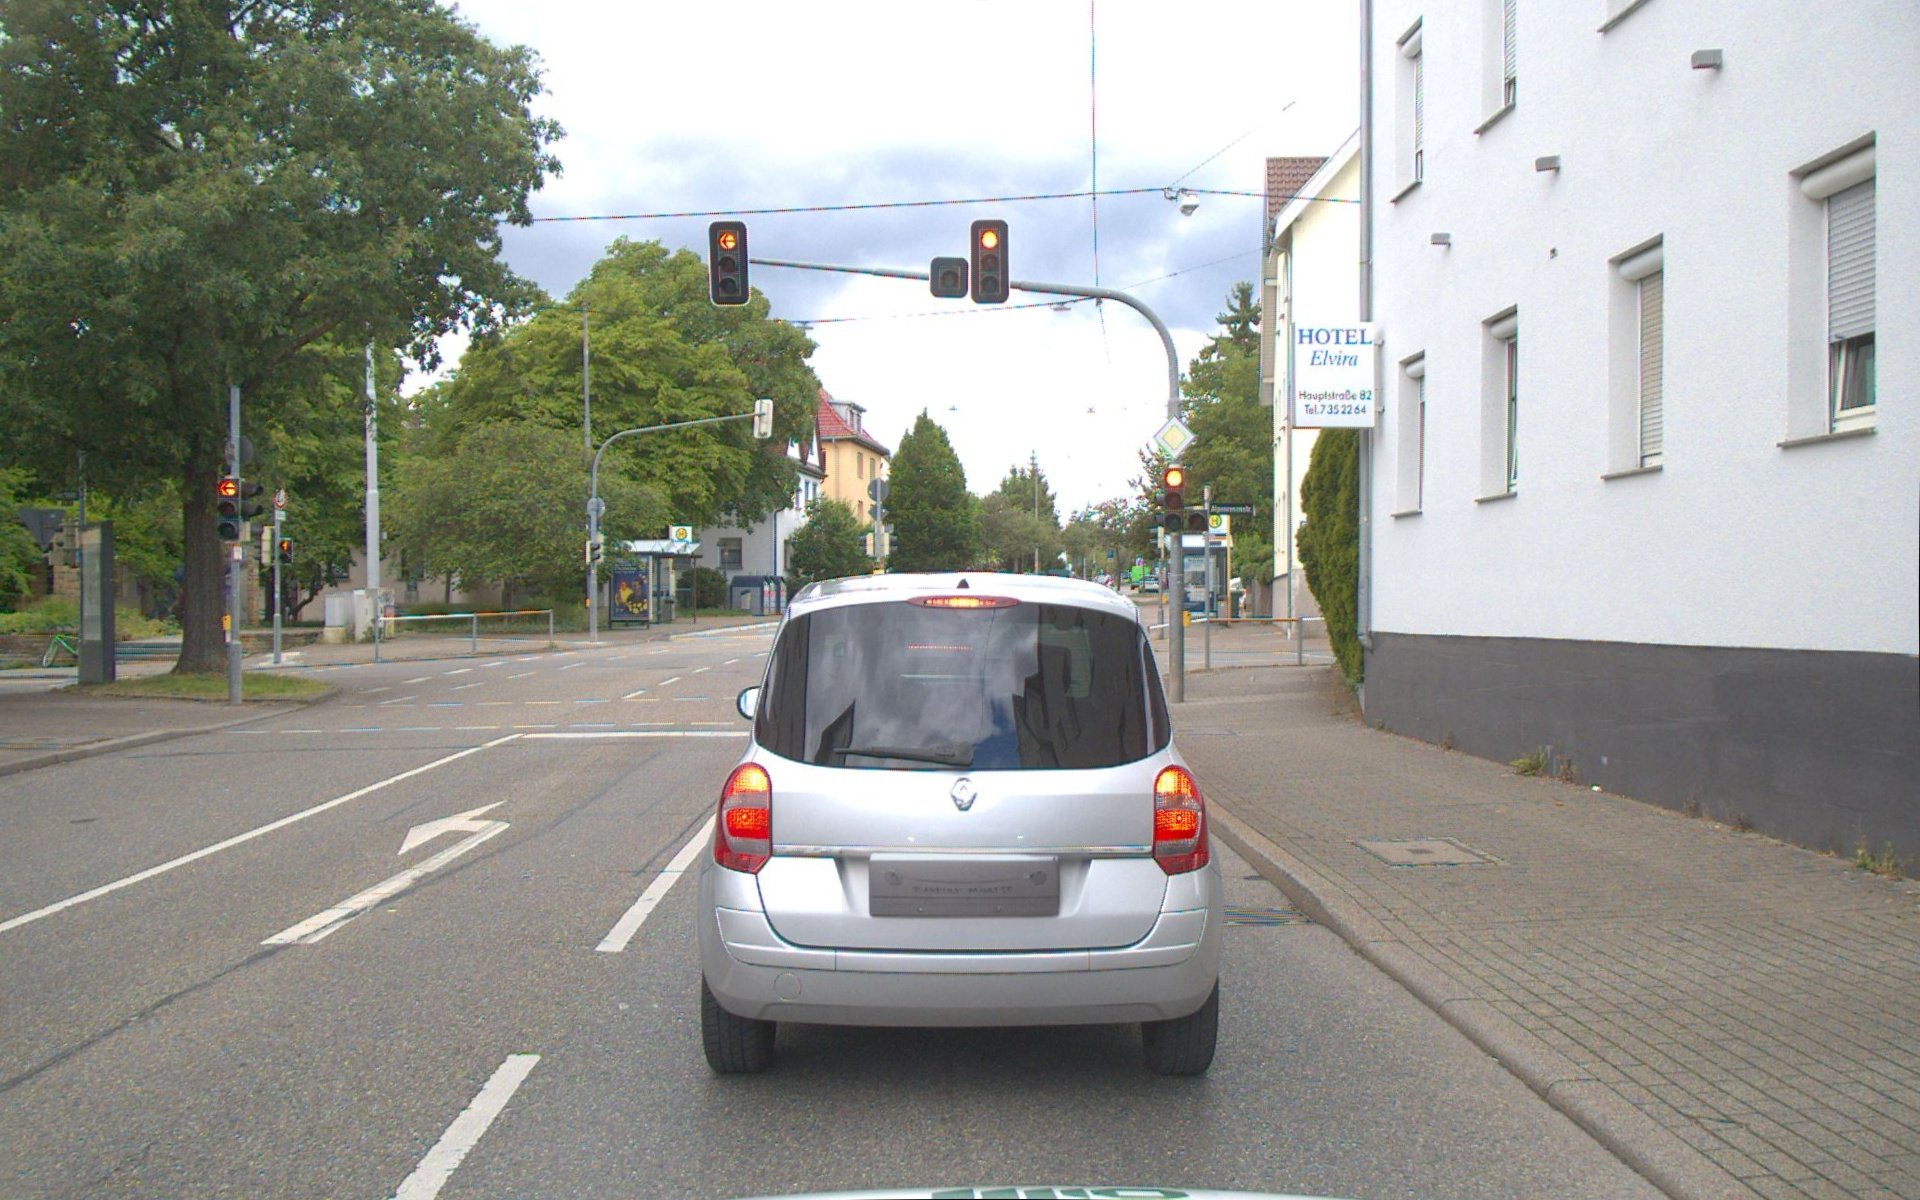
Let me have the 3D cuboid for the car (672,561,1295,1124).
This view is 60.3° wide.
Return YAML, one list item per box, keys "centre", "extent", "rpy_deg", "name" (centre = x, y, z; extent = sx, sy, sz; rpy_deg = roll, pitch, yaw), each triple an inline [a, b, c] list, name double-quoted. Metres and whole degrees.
- centre: [0.029, 0.676, 6.598]
  extent: [1.719, 1.557, 3.999]
  rpy_deg: [1, 0, -1]
  name: "car"

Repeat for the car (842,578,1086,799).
- centre: [-0.010, 0.625, 13.616]
  extent: [1.719, 1.557, 3.796]
  rpy_deg: [1, 0, -1]
  name: "car"

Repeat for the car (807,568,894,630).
- centre: [-3.537, -0.047, 54.130]
  extent: [1.885, 1.804, 4.004]
  rpy_deg: [-4, 0, 9]
  name: "car"

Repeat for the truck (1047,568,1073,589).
- centre: [10.084, -2.146, 166.686]
  extent: [2.056, 2.049, 5.752]
  rpy_deg: [1, 0, 9]
  name: "truck"

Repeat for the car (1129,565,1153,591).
- centre: [18.502, -2.249, 168.869]
  extent: [2.015, 2.556, 5.600]
  rpy_deg: [1, 0, 11]
  name: "car"

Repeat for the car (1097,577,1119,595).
- centre: [14.763, -1.380, 164.739]
  extent: [1.818, 1.778, 4.003]
  rpy_deg: [1, 0, 11]
  name: "car"
